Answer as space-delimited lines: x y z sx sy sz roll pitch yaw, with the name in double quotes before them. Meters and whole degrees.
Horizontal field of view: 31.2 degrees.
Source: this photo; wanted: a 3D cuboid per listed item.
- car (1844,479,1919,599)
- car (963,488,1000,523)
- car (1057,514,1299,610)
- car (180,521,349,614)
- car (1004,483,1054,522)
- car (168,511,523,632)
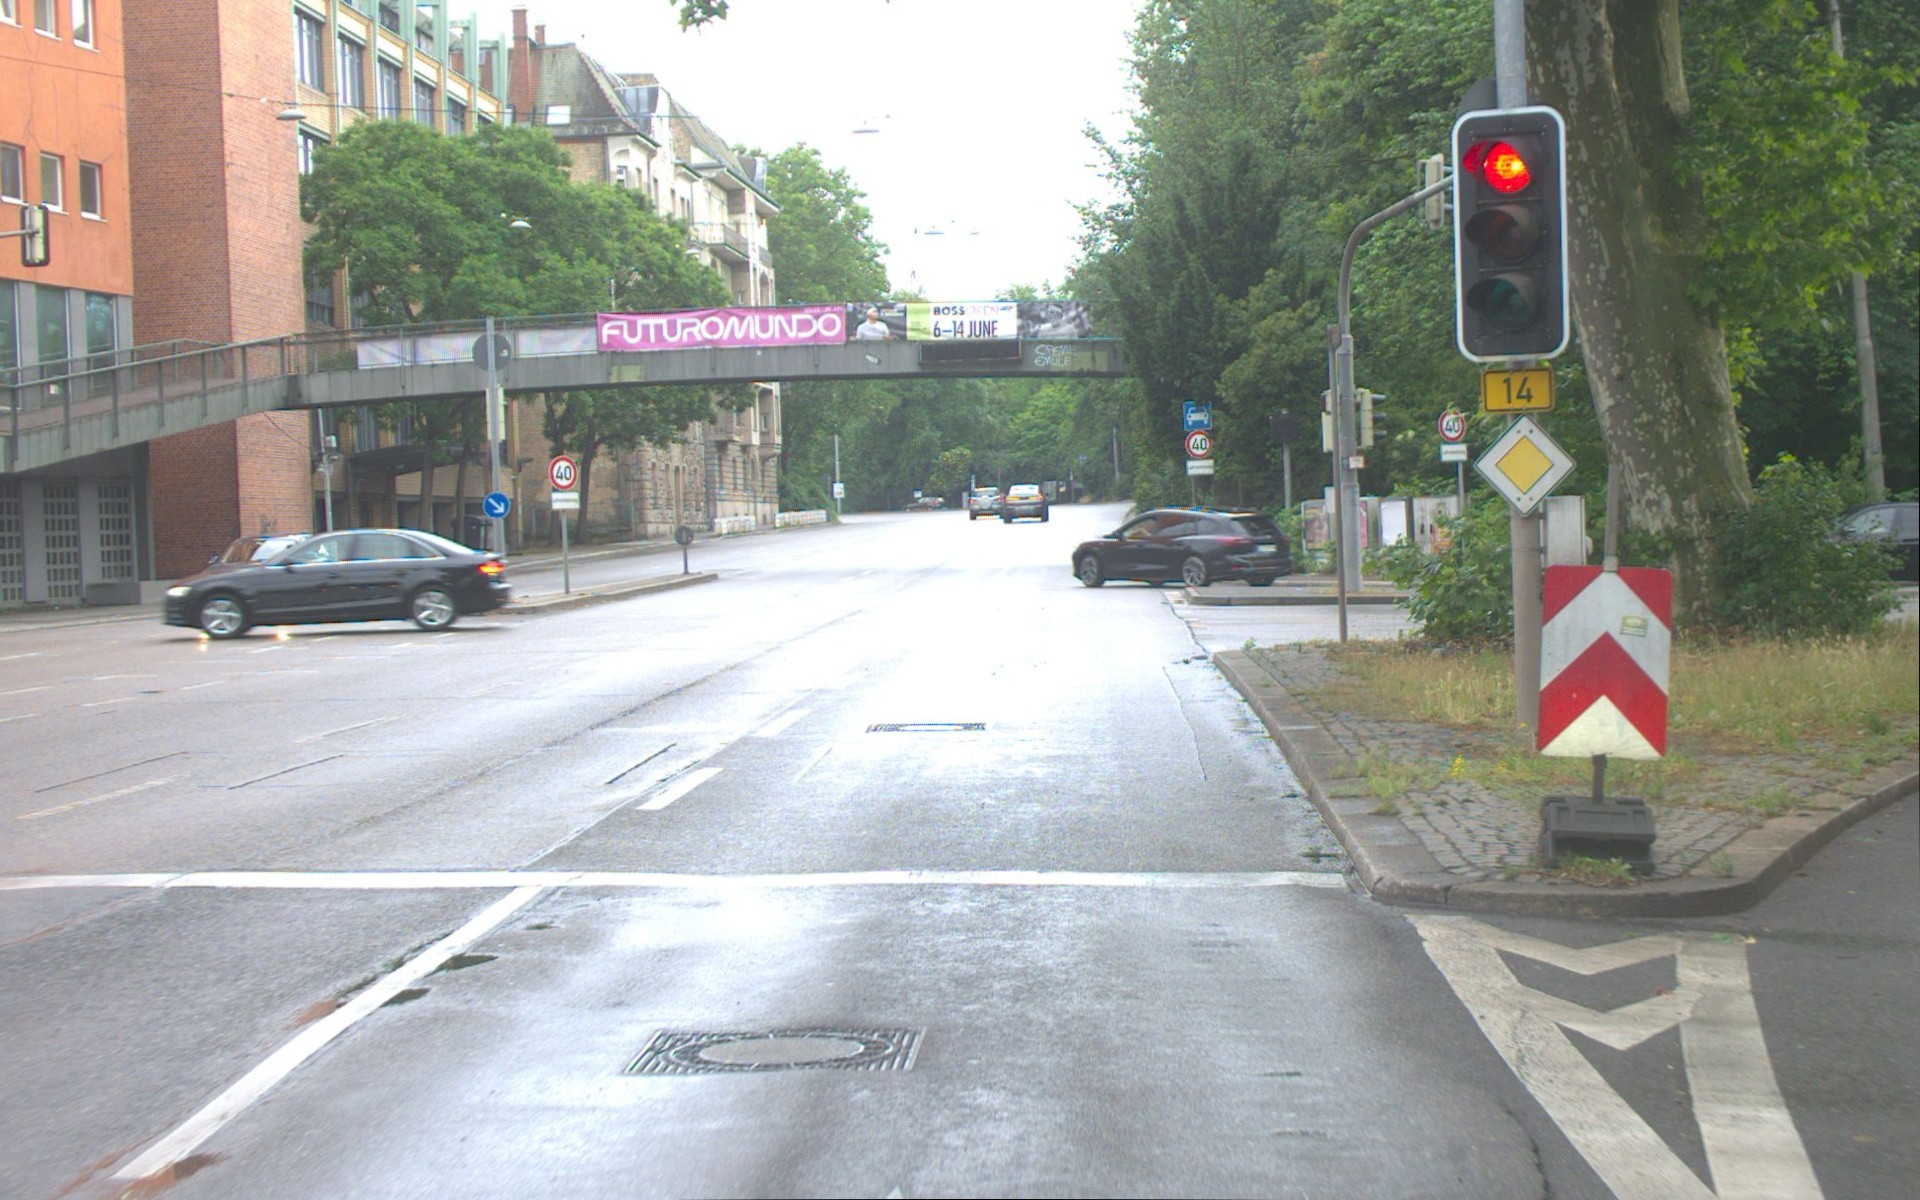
"car" 16.530 -1.087 54.625 4.339 1.829 2.136 -3 1 1
"car" 1.140 -4.842 176.960 1.763 1.691 3.706 -3 1 1
"car" 3.868 -0.701 61.640 1.875 1.632 4.525 -2 2 -35
"car" -12.090 -0.592 60.011 1.993 1.514 4.000 -2 1 2
"car" 3.131 -4.466 157.646 2.120 1.729 4.199 0 2 -1
"car" -8.336 -0.402 46.973 4.602 1.446 1.774 -2 1 -6
